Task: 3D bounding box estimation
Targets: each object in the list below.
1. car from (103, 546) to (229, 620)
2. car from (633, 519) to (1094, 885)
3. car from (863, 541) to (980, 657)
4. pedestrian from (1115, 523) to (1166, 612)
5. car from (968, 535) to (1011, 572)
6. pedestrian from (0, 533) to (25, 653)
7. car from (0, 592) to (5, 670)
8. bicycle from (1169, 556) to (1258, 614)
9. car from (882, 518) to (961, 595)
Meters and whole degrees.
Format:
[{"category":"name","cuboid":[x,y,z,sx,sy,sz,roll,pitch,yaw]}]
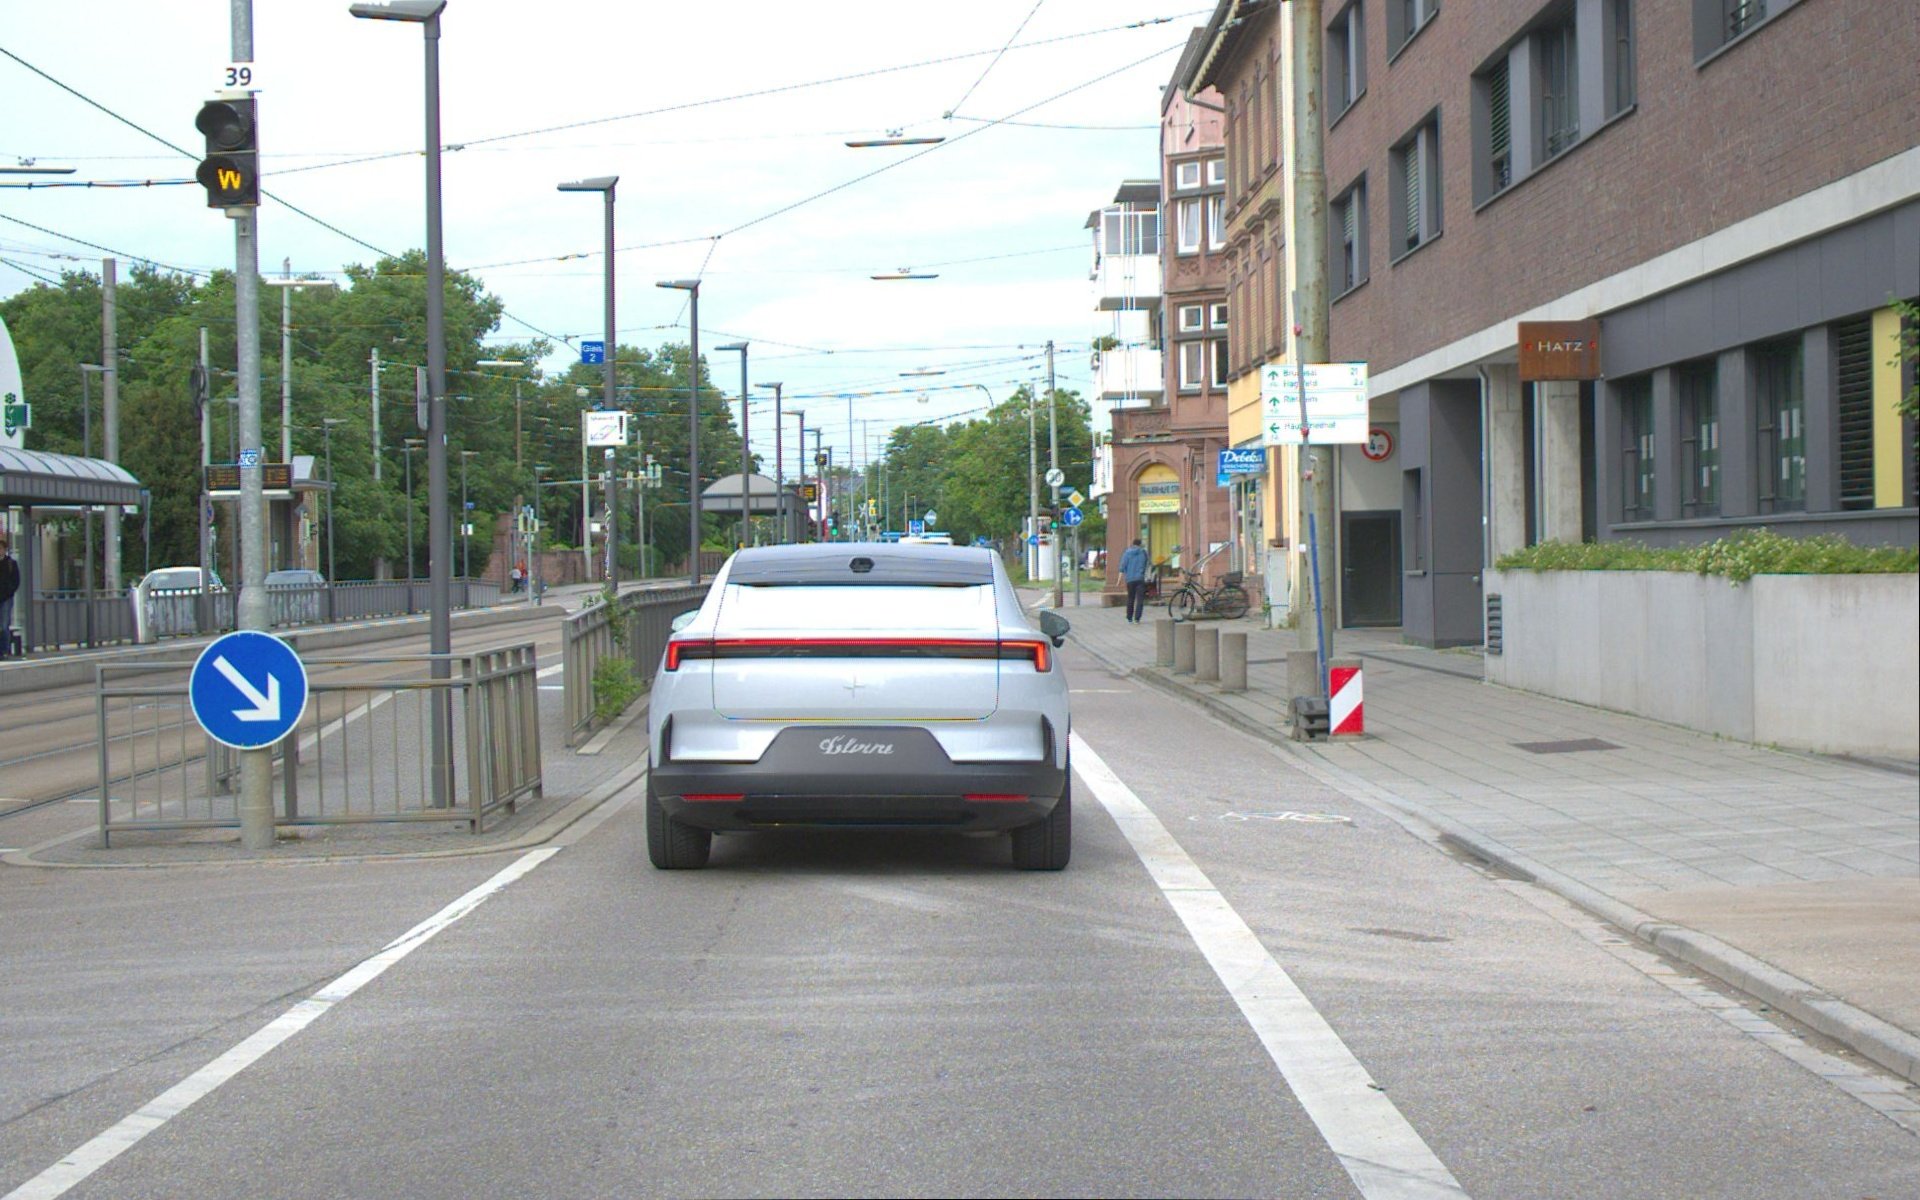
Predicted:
[{"category":"car","cuboid":[-17.648,-0.399,76.570,1.864,1.481,4.000,-3,1,-1]},{"category":"car","cuboid":[-0.579,0.435,16.888,1.999,1.575,4.001,0,0,-5]},{"category":"car","cuboid":[-0.556,-0.024,51.497,1.681,1.682,3.824,0,0,0]},{"category":"pedestrian","cuboid":[3.881,-0.698,74.004,0.961,1.843,0.975,-3,1,6]},{"category":"car","cuboid":[1.981,-3.132,232.577,2.807,2.496,5.722,0,0,0]},{"category":"pedestrian","cuboid":[-13.411,-0.104,47.861,0.615,1.659,0.697,0,0,0]},{"category":"car","cuboid":[-16.712,0.553,54.980,1.750,1.294,3.833,-2,1,0]},{"category":"bicycle","cuboid":[5.386,-0.322,73.191,1.777,1.126,0.642,-3,1,-1]},{"category":"car","cuboid":[-1.262,-1.379,109.516,2.225,2.394,5.124,0,0,-4]}]
